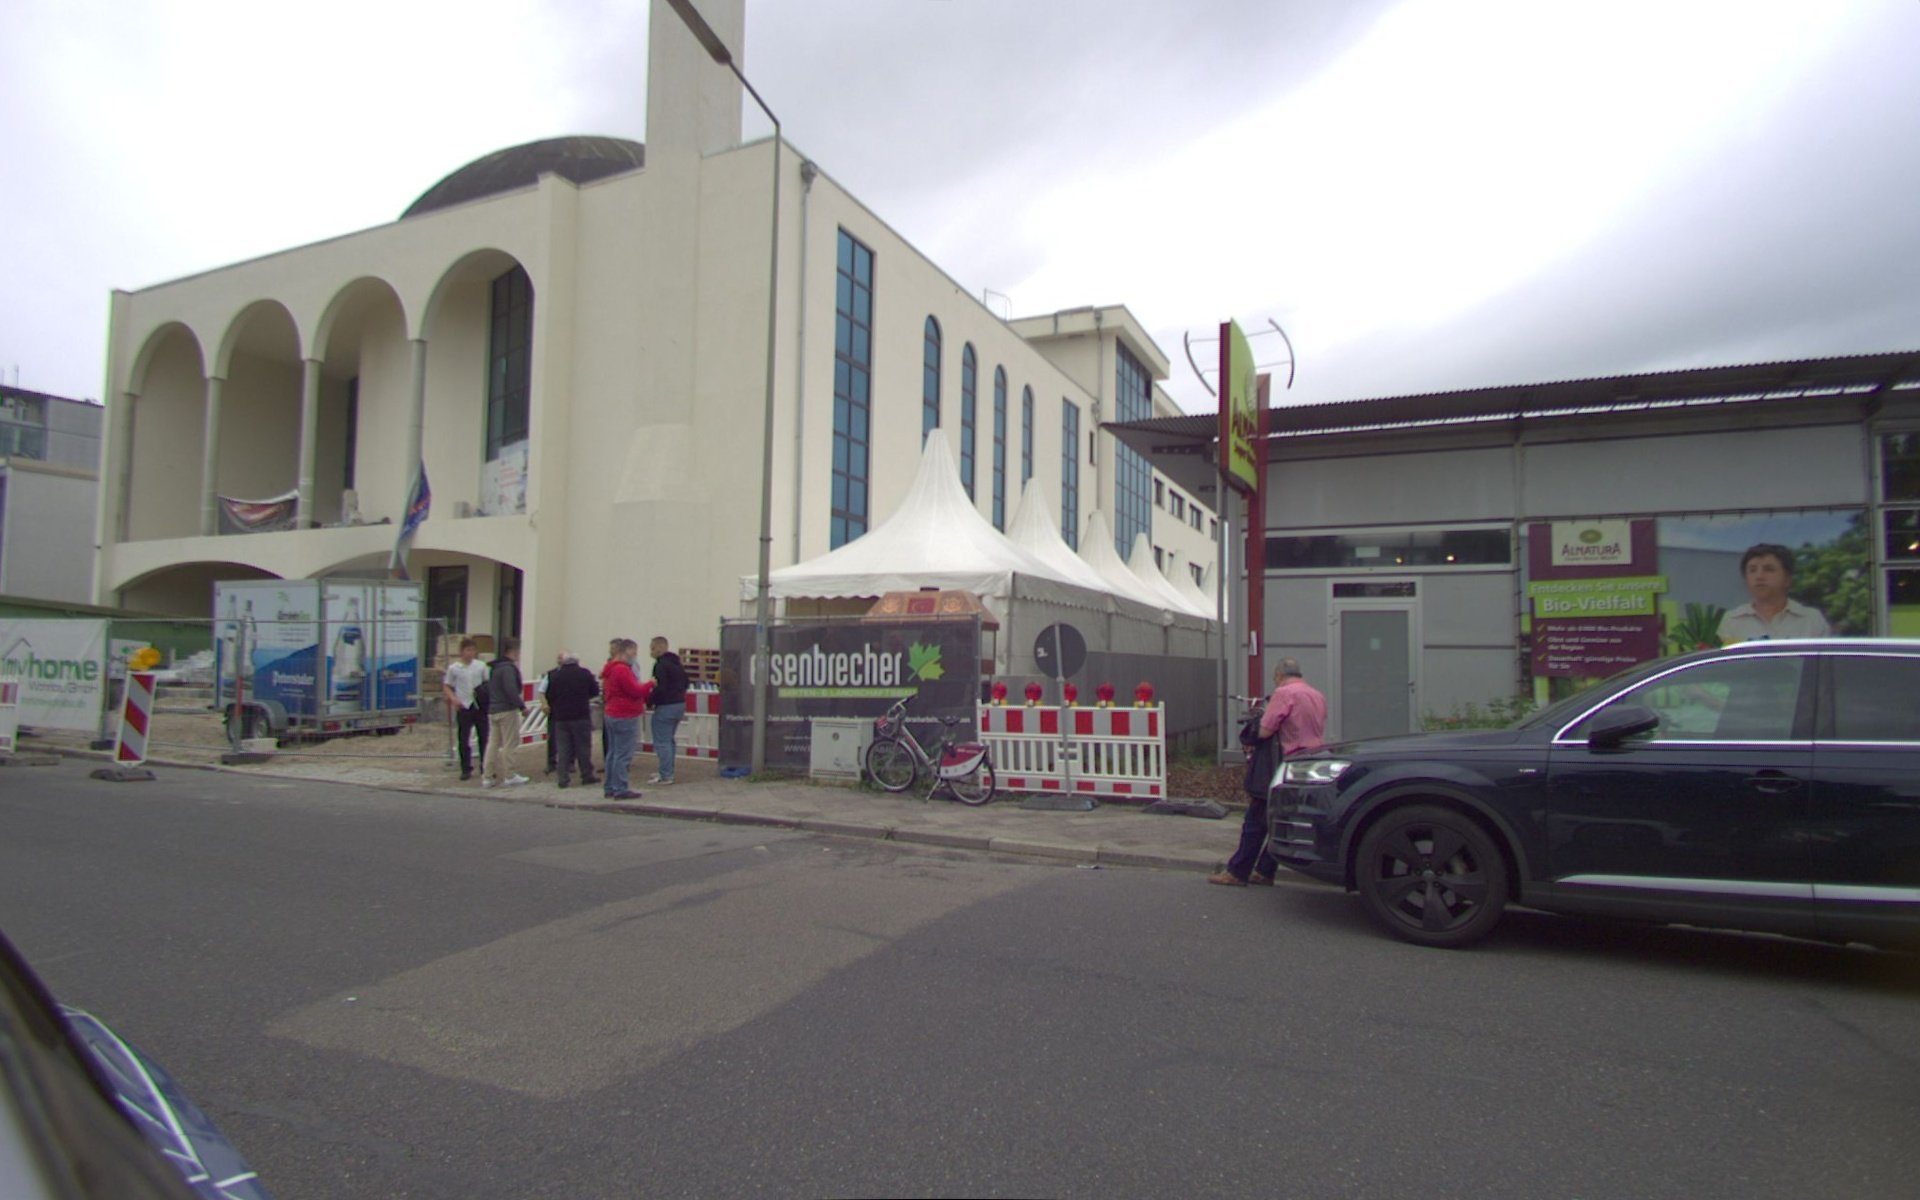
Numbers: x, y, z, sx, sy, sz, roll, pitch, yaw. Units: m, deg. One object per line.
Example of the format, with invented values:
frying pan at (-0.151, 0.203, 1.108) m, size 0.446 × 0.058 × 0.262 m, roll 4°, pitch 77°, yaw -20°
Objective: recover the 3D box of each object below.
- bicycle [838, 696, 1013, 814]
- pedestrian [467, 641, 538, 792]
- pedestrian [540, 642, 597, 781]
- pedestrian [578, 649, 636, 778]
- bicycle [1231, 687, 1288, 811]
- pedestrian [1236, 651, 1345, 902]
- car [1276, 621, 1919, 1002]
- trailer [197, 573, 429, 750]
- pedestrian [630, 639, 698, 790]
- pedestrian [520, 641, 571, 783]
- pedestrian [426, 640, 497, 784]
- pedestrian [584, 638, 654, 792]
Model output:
bicycle at (-0.389, 1.633, 10.932) m, size 1.894 × 1.086 × 0.540 m, roll 0°, pitch -3°, yaw 32°
pedestrian at (-5.529, 1.396, 12.265) m, size 0.679 × 1.763 × 0.492 m, roll 2°, pitch -4°, yaw -20°
pedestrian at (-4.698, 1.326, 12.176) m, size 0.561 × 1.624 × 0.492 m, roll 2°, pitch -4°, yaw -20°
pedestrian at (-4.566, 1.449, 13.102) m, size 0.485 × 1.624 × 0.539 m, roll 0°, pitch -2°, yaw 8°
bicycle at (3.209, 1.536, 10.784) m, size 0.389 × 1.054 × 1.652 m, roll -1°, pitch 0°, yaw 23°
pedestrian at (2.341, 1.209, 7.148) m, size 0.650 × 1.634 × 0.669 m, roll -1°, pitch -8°, yaw 25°
car at (4.320, 1.064, 5.616) m, size 4.703 × 1.704 × 1.855 m, roll -1°, pitch -7°, yaw 26°
trailer at (-10.584, 0.993, 16.580) m, size 3.176 × 2.627 × 1.786 m, roll -1°, pitch -5°, yaw 28°
pedestrian at (-3.593, 1.357, 12.259) m, size 0.684 × 1.731 × 0.689 m, roll -2°, pitch -2°, yaw -21°
pedestrian at (-5.312, 1.423, 12.995) m, size 0.519 × 1.763 × 0.492 m, roll 2°, pitch -4°, yaw -20°
pedestrian at (-6.302, 1.406, 12.826) m, size 0.679 × 1.763 × 0.492 m, roll 2°, pitch -4°, yaw -20°
pedestrian at (-3.722, 1.246, 11.080) m, size 0.533 × 1.624 × 0.491 m, roll 2°, pitch -5°, yaw -3°
